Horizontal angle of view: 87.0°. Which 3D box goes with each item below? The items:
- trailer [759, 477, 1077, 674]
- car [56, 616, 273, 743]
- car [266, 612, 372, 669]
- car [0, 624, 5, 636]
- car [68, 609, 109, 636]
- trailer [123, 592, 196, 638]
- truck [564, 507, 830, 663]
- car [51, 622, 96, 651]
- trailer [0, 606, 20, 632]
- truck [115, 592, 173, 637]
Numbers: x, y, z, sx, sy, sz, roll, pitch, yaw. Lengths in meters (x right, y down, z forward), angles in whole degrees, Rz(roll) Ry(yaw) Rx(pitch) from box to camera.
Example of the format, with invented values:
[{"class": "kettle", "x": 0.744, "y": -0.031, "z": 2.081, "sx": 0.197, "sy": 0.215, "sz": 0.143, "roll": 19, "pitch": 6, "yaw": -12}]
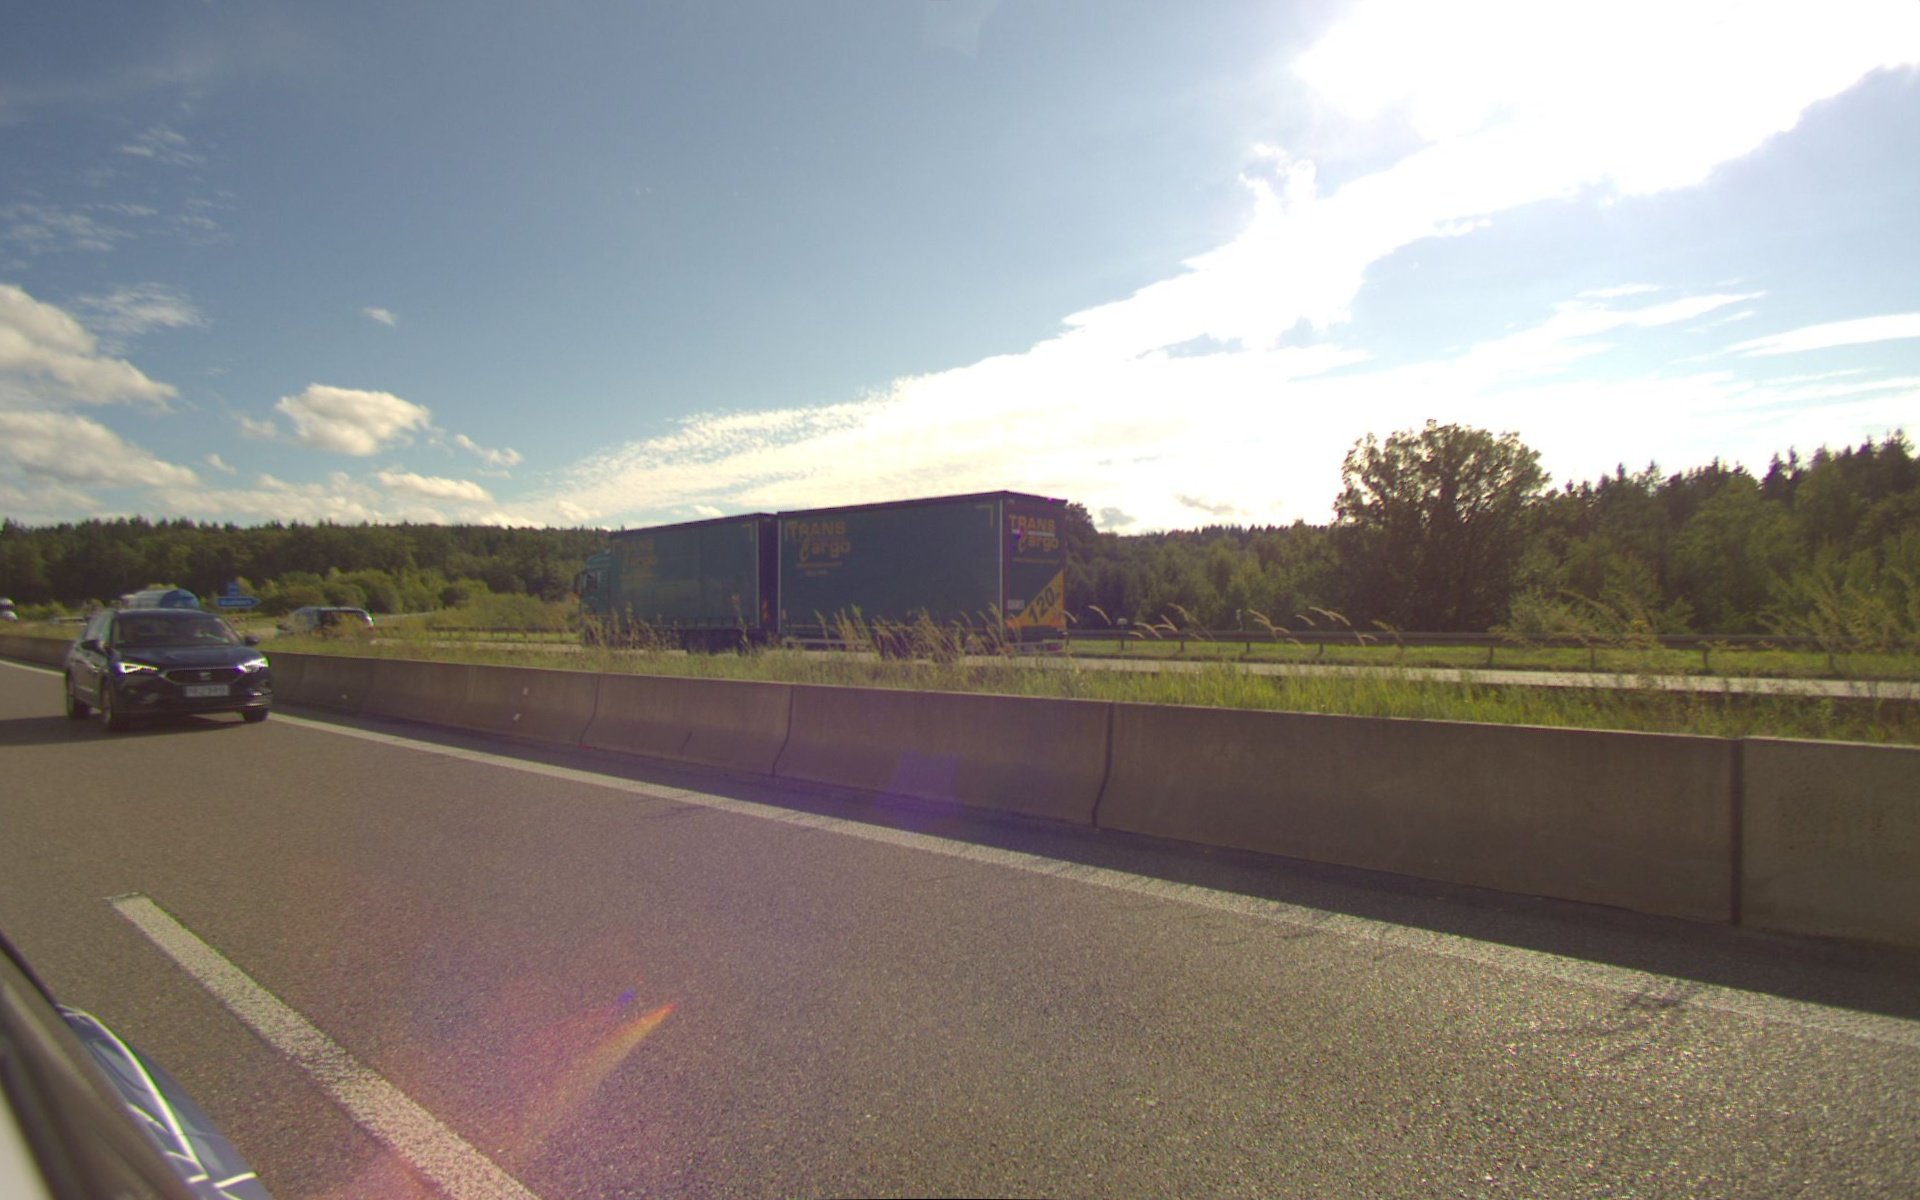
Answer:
[{"class": "trailer", "x": -1.340, "y": -0.476, "z": 25.812, "sx": 8.546, "sy": 4.276, "sz": 2.698, "roll": -1, "pitch": -1, "yaw": 40}, {"class": "car", "x": -11.578, "y": 1.021, "z": 14.638, "sx": 4.157, "sy": 1.554, "sz": 1.756, "roll": -1, "pitch": -1, "yaw": 41}, {"class": "car", "x": -20.193, "y": 1.233, "z": 31.840, "sx": 3.998, "sy": 1.593, "sz": 1.652, "roll": -1, "pitch": 3, "yaw": 41}, {"class": "car", "x": -106.308, "y": 3.376, "z": 111.160, "sx": 3.706, "sy": 1.291, "sz": 1.673, "roll": -1, "pitch": 3, "yaw": 41}, {"class": "car", "x": -65.632, "y": 1.693, "z": 76.200, "sx": 3.998, "sy": 1.895, "sz": 1.742, "roll": -1, "pitch": 3, "yaw": 41}, {"class": "trailer", "x": -61.327, "y": 1.179, "z": 77.402, "sx": 10.867, "sy": 3.309, "sz": 2.298, "roll": -1, "pitch": -1, "yaw": 40}, {"class": "truck", "x": -8.614, "y": -0.345, "z": 32.015, "sx": 10.336, "sy": 4.276, "sz": 2.684, "roll": -1, "pitch": -1, "yaw": 40}, {"class": "car", "x": -57.176, "y": 2.323, "z": 65.272, "sx": 3.765, "sy": 1.636, "sz": 1.654, "roll": -1, "pitch": 3, "yaw": 41}, {"class": "trailer", "x": -133.825, "y": 2.611, "z": 141.429, "sx": 8.949, "sy": 3.555, "sz": 2.770, "roll": -1, "pitch": -1, "yaw": 41}, {"class": "truck", "x": -64.737, "y": 1.137, "z": 80.271, "sx": 6.100, "sy": 3.298, "sz": 2.295, "roll": -1, "pitch": 2, "yaw": 40}]
